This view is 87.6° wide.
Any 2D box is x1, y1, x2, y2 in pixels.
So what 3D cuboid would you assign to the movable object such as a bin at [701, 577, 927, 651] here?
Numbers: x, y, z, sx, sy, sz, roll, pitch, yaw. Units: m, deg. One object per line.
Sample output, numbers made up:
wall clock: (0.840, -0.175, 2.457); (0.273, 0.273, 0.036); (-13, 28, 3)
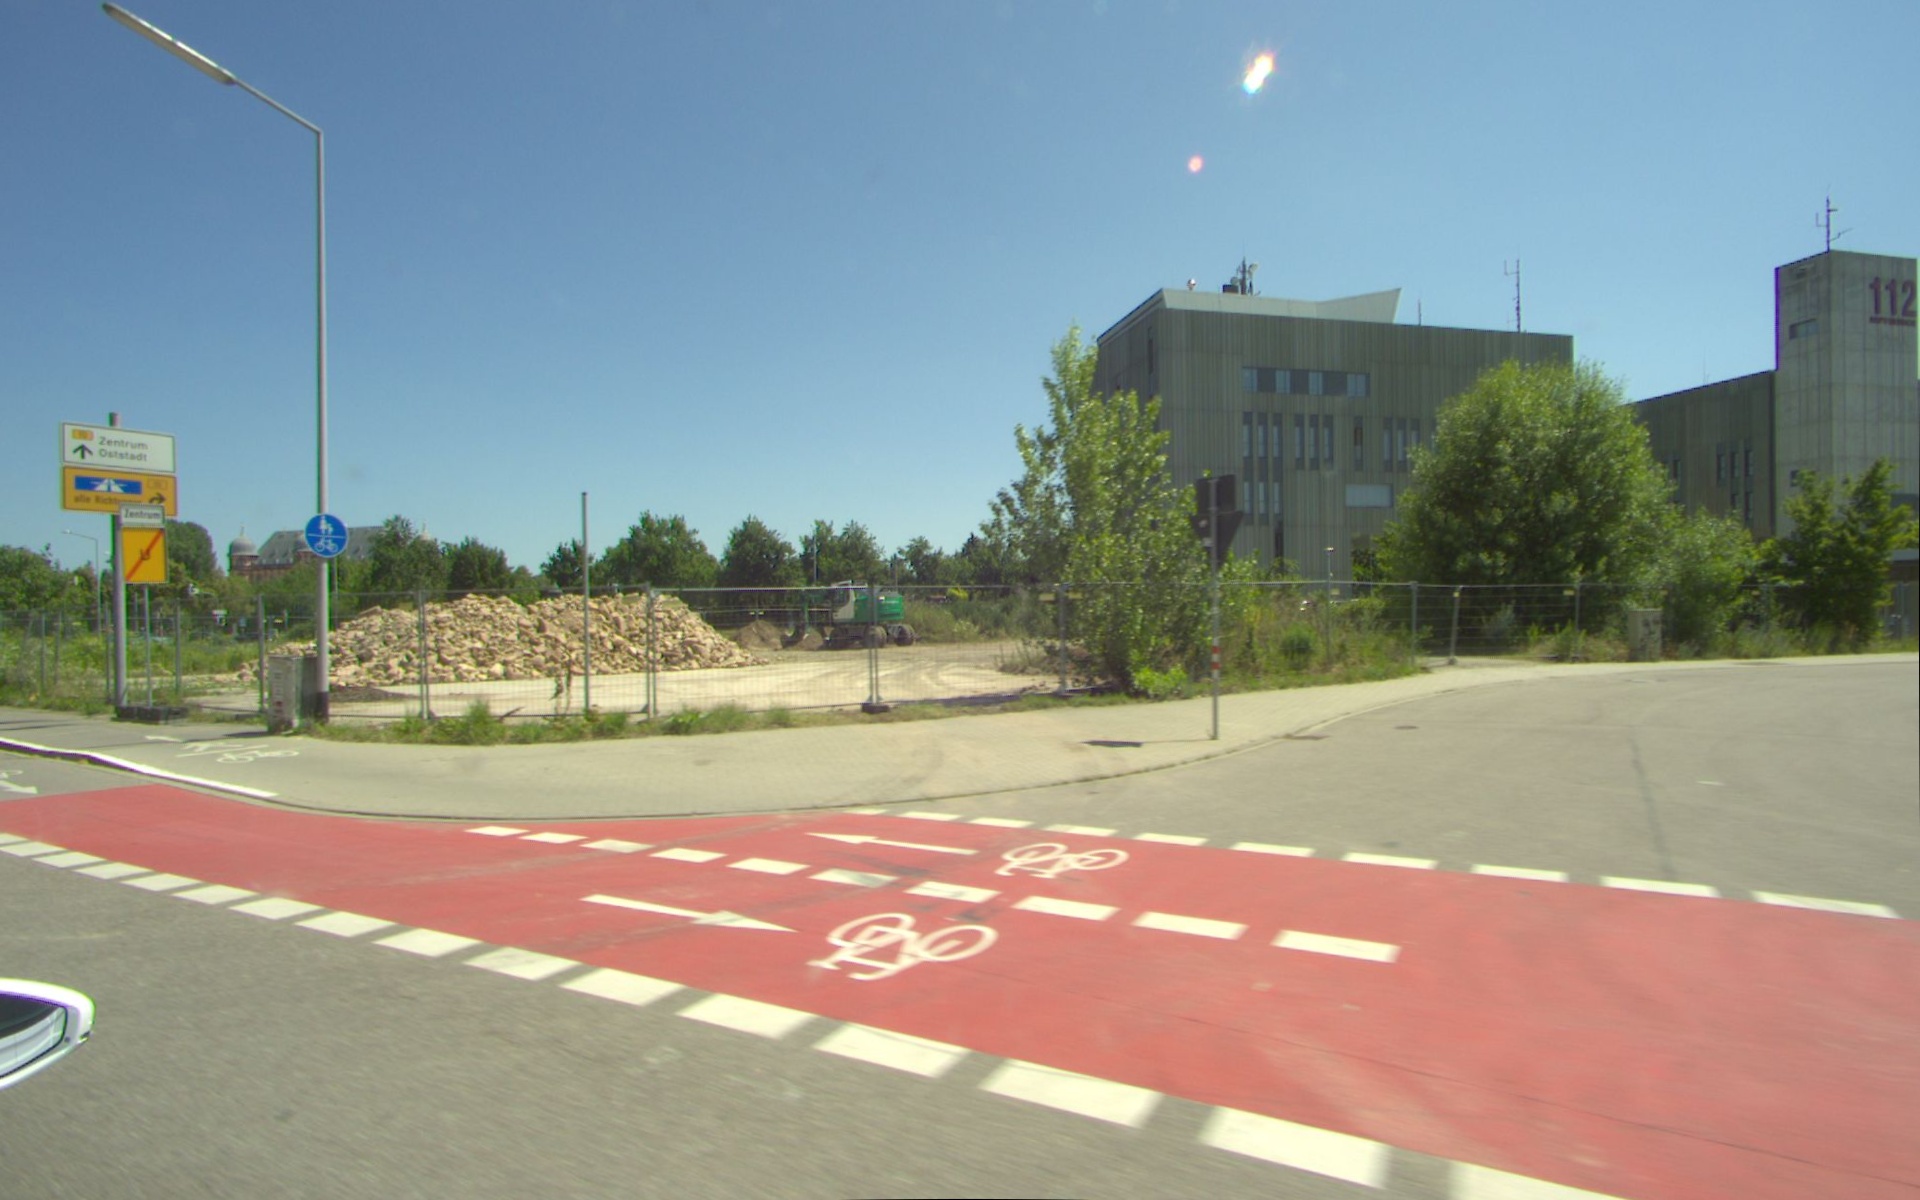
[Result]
movable object such as a bin: (-7.277, 0.750, 49.337); (10.321, 3.302, 4.929); (-1, -1, 33)
